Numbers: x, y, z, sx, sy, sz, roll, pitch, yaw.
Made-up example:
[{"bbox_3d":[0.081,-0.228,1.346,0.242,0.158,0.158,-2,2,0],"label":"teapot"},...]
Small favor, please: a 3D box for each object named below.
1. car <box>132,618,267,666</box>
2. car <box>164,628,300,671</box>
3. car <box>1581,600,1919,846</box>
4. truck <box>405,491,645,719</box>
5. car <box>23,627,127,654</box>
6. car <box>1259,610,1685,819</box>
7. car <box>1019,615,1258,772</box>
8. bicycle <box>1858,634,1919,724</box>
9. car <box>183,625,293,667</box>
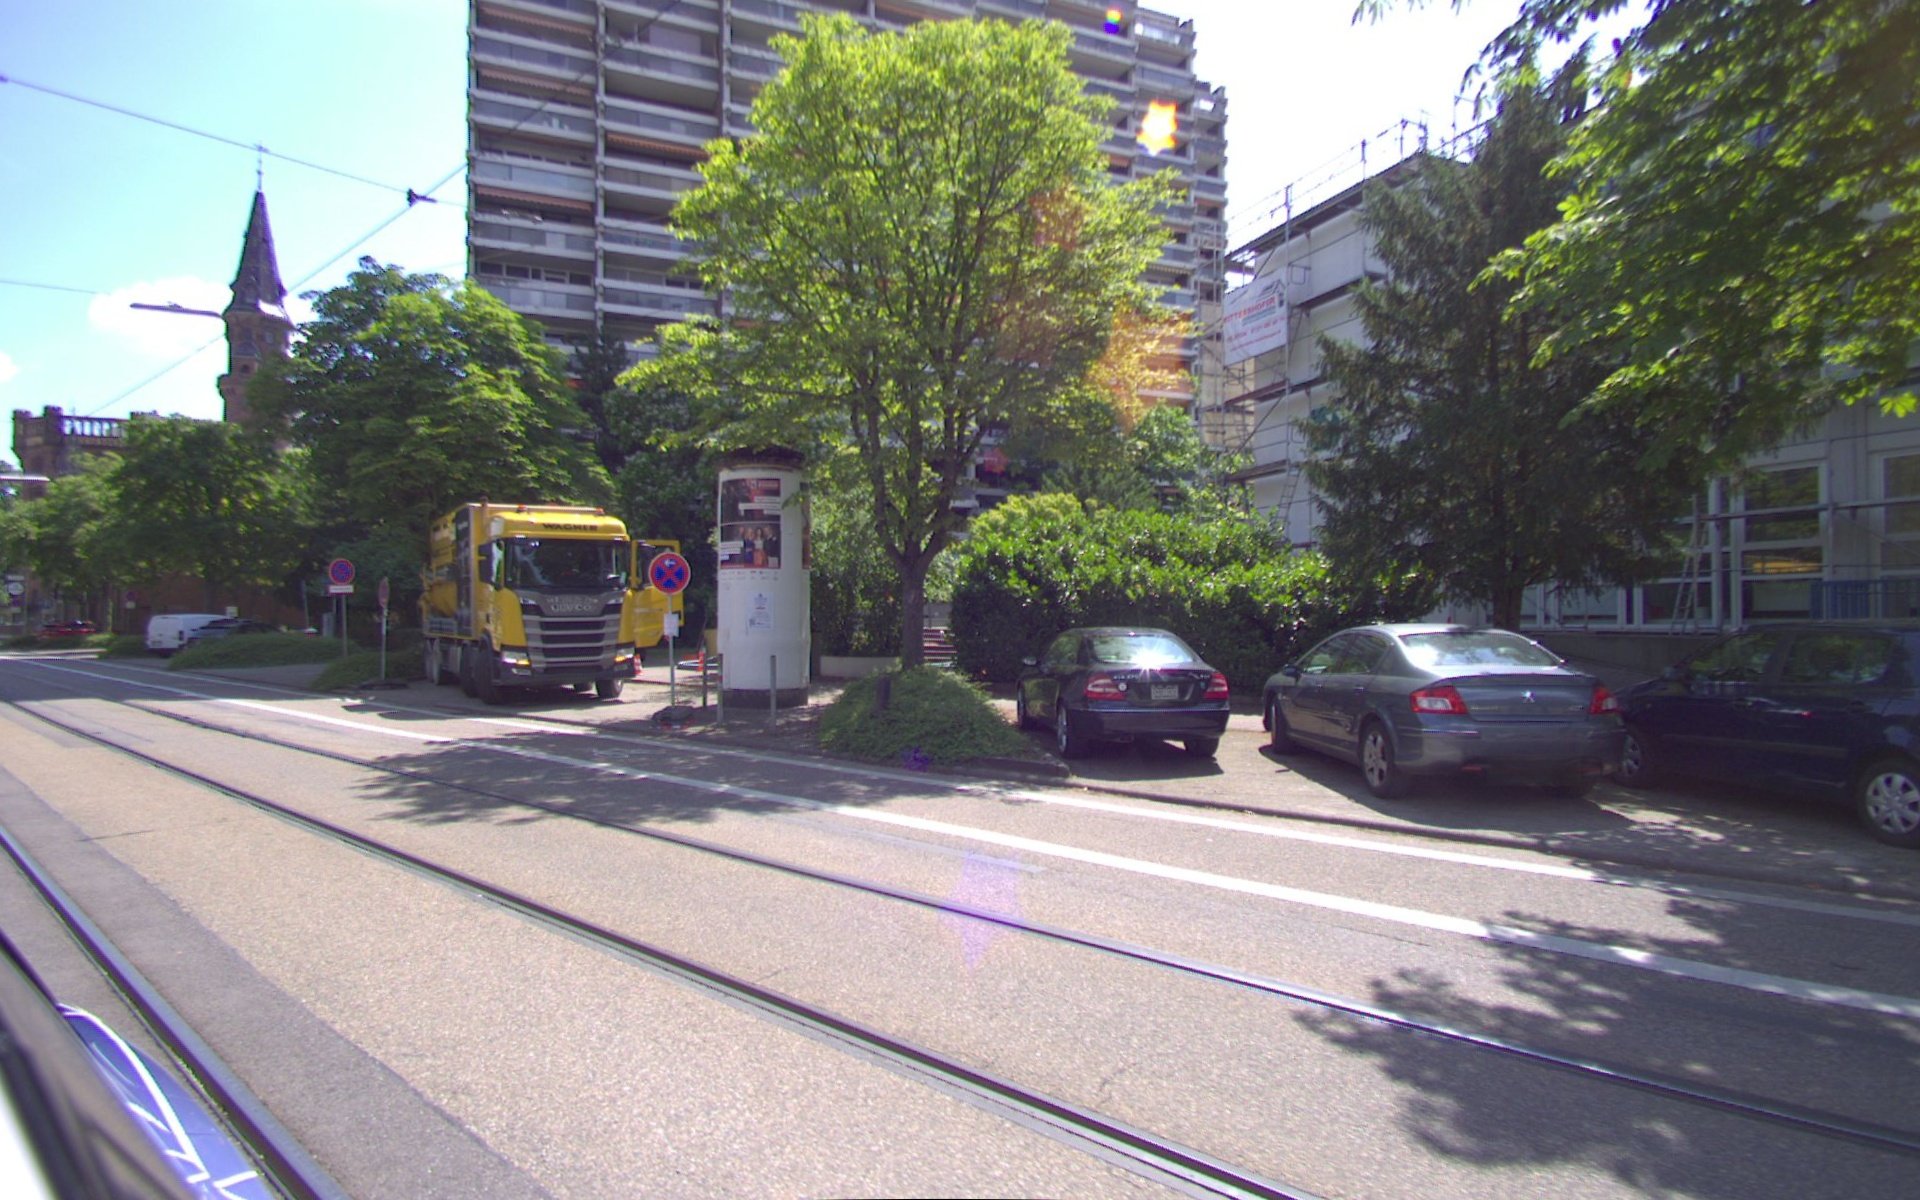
[{"bbox_3d":[-31.876,1.720,42.585,1.879,1.805,4.537,-1,-1,8],"label":"car"},{"bbox_3d":[-27.046,1.796,37.802,1.749,1.405,4.444,-1,-1,2],"label":"car"},{"bbox_3d":[6.810,0.837,7.685,1.666,1.556,3.713,1,-2,-5],"label":"car"},{"bbox_3d":[-10.112,0.116,22.494,2.679,3.870,10.991,-1,0,-35],"label":"truck"},{"bbox_3d":[-56.174,2.524,64.328,1.981,1.578,4.761,-1,-1,12],"label":"car"},{"bbox_3d":[4.413,0.932,9.608,1.848,1.518,4.203,1,-2,0],"label":"car"},{"bbox_3d":[1.860,0.990,11.732,1.735,1.518,3.714,1,-2,-6],"label":"car"},{"bbox_3d":[12.881,1.022,13.497,1.983,1.083,0.559,-1,-1,-24],"label":"bicycle"},{"bbox_3d":[-29.356,1.833,41.301,1.747,1.544,3.951,-1,-1,-1],"label":"car"}]
